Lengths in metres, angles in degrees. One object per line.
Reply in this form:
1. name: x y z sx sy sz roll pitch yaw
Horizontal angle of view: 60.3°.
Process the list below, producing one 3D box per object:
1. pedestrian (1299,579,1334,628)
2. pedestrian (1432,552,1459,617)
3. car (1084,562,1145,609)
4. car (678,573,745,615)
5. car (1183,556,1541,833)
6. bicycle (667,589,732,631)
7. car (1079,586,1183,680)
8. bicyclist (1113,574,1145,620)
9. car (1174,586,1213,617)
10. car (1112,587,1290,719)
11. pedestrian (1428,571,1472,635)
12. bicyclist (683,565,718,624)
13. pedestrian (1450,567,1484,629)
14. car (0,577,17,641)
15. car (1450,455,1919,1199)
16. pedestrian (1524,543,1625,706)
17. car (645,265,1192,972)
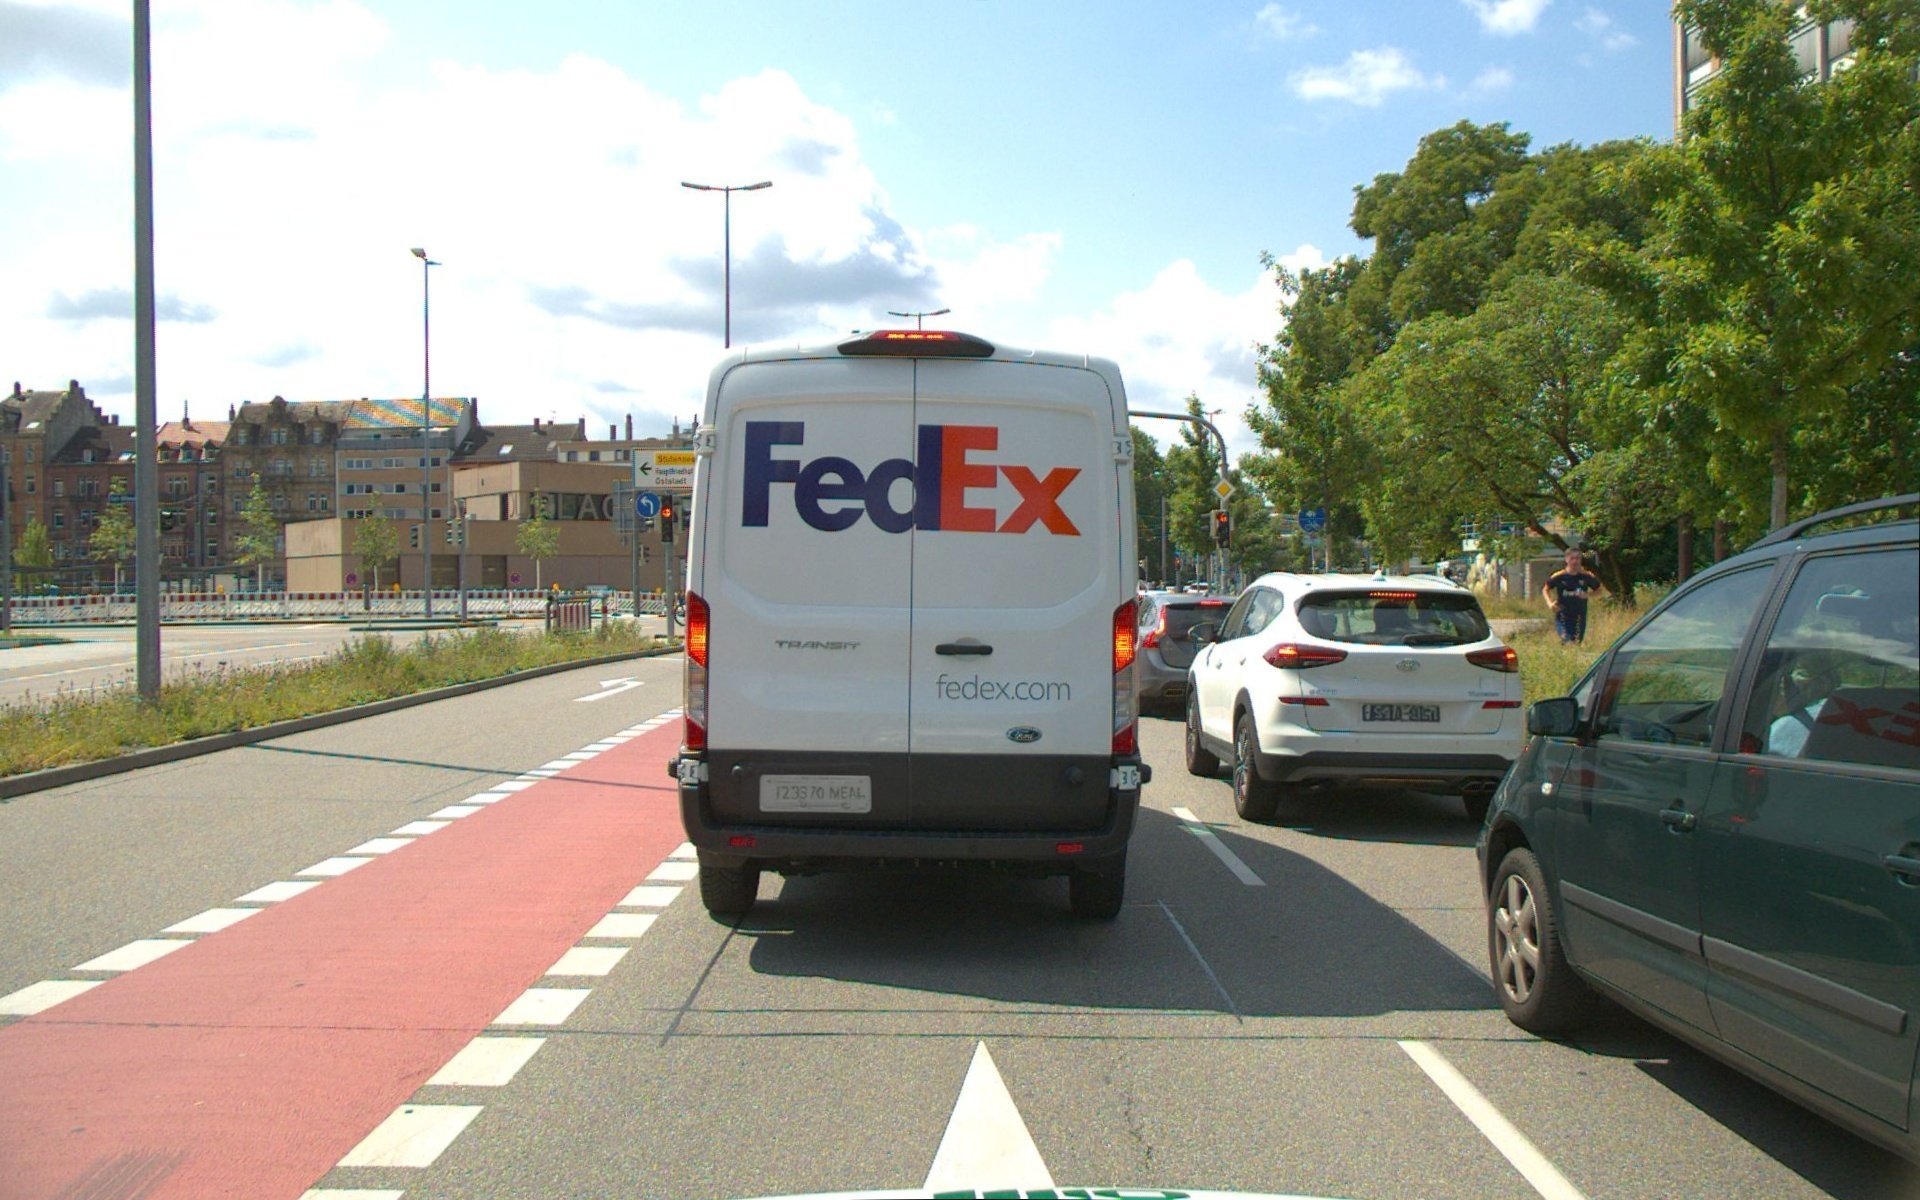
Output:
1. pedestrian: 10.290 0.100 47.725 0.827 1.413 0.741 0 0 -1
2. pedestrian: 16.012 -0.514 54.552 0.723 2.094 0.848 0 0 5
3. car: 7.041 -0.624 74.962 2.048 2.049 4.647 -1 0 14
4. car: -12.381 -0.289 82.754 1.951 2.049 4.003 -1 0 13
5. car: 2.770 0.564 12.286 1.760 1.717 4.001 0 1 1
6. bicycle: -8.331 0.310 52.953 2.025 1.312 0.603 0 0 -7
7. car: 2.814 0.509 27.789 1.454 1.453 3.433 0 1 1
8. bicyclist: 5.539 -0.091 54.158 0.950 1.500 0.550 0 0 -8
9. car: 14.232 0.101 100.633 1.951 1.825 4.375 -1 0 13
10. car: 2.940 0.599 20.903 1.760 1.486 3.839 0 1 1
11. pedestrian: 12.091 0.068 40.830 0.827 1.565 0.835 0 0 -1
12. bicyclist: -8.306 -0.182 52.956 1.098 1.877 0.592 -1 1 -8
13. pedestrian: 16.916 -0.076 55.147 0.838 2.049 0.731 -1 1 -36
14. car: -31.020 0.288 49.074 4.910 1.911 1.927 0 1 -4
15. car: 2.841 0.580 4.281 1.775 1.764 4.388 0 1 -1
16. pedestrian: 7.436 0.287 20.032 0.931 1.925 0.773 0 0 -1
17. car: -0.286 0.059 9.224 2.098 2.699 5.701 0 0 -3
